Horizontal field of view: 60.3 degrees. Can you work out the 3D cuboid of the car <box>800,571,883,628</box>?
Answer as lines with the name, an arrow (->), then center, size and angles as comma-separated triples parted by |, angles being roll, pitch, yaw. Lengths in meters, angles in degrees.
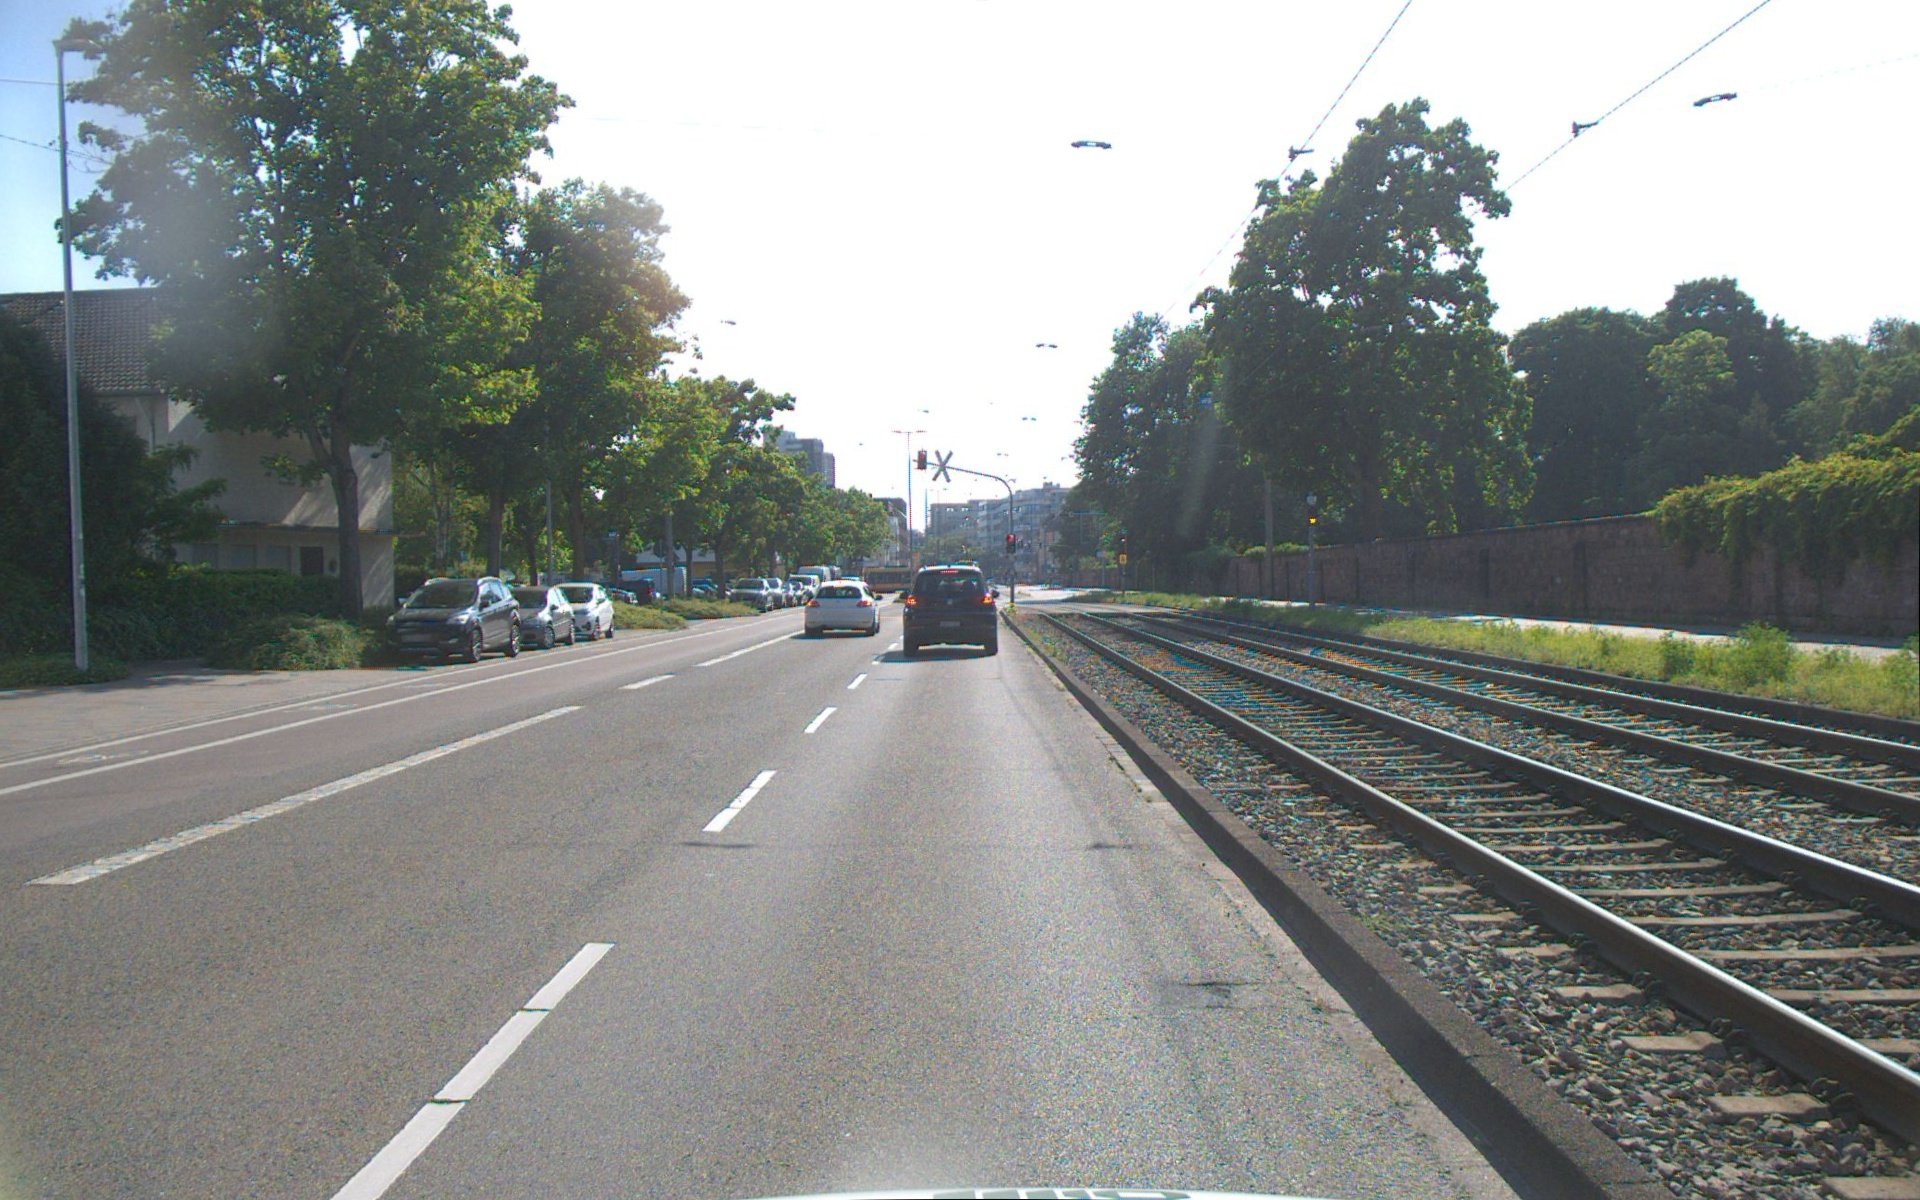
car -> -3.037, -0.047, 43.035 | 1.826, 1.371, 4.001 | -1, 1, 0

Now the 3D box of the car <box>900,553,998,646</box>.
car -> -0.178, -0.030, 32.129 | 1.774, 1.673, 4.000 | -1, 1, 0

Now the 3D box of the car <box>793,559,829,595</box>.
car -> -10.211, -1.597, 113.600 | 1.825, 2.388, 4.986 | -2, 1, 2

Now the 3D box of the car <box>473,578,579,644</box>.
car -> -10.663, 0.239, 40.911 | 1.643, 1.494, 3.967 | -1, 1, -2

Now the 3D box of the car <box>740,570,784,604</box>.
car -> -10.673, -0.725, 89.421 | 1.696, 1.724, 4.002 | -2, 1, 2

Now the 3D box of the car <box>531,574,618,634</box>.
car -> -10.766, 0.078, 46.367 | 1.568, 1.577, 3.894 | 0, 1, -1

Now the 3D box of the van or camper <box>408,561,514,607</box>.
van or camper -> -33.612, -1.098, 111.555 | 6.330, 2.918, 2.308 | -1, 1, 1

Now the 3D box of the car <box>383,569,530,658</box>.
car -> -10.588, 0.230, 35.113 | 1.677, 1.723, 4.423 | -1, 1, 1

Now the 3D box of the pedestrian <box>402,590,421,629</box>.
pedestrian -> -17.598, 0.292, 53.068 | 0.435, 1.238, 0.391 | -2, 1, 8

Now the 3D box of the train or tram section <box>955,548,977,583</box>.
train or tram section -> 0.679, -3.707, 177.640 | 2.279, 3.632, 8.901 | -2, 1, 1

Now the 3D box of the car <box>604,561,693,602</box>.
car -> -20.113, -1.195, 106.829 | 5.265, 2.465, 2.088 | -2, 1, 0

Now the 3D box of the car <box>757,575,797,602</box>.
car -> -10.571, -0.698, 95.731 | 1.696, 1.413, 3.736 | -2, 1, 2

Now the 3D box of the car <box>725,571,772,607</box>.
car -> -10.701, -0.573, 83.753 | 1.696, 1.686, 4.001 | -2, 1, 2

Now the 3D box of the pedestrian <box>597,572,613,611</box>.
pedestrian -> -15.315, -0.375, 71.356 | 0.514, 1.656, 0.610 | -2, 1, 0

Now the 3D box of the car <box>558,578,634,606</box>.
car -> -20.520, -0.438, 93.443 | 3.907, 1.422, 1.737 | -2, 1, -3

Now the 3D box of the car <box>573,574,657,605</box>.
car -> -20.586, -0.657, 98.792 | 4.525, 1.680, 2.049 | -2, 1, -2

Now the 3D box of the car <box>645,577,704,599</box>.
car -> -20.283, -0.874, 117.715 | 3.907, 1.422, 1.737 | -2, 1, -3

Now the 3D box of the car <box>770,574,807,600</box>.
car -> -10.521, -0.824, 101.615 | 1.696, 1.475, 3.736 | -2, 1, 2
